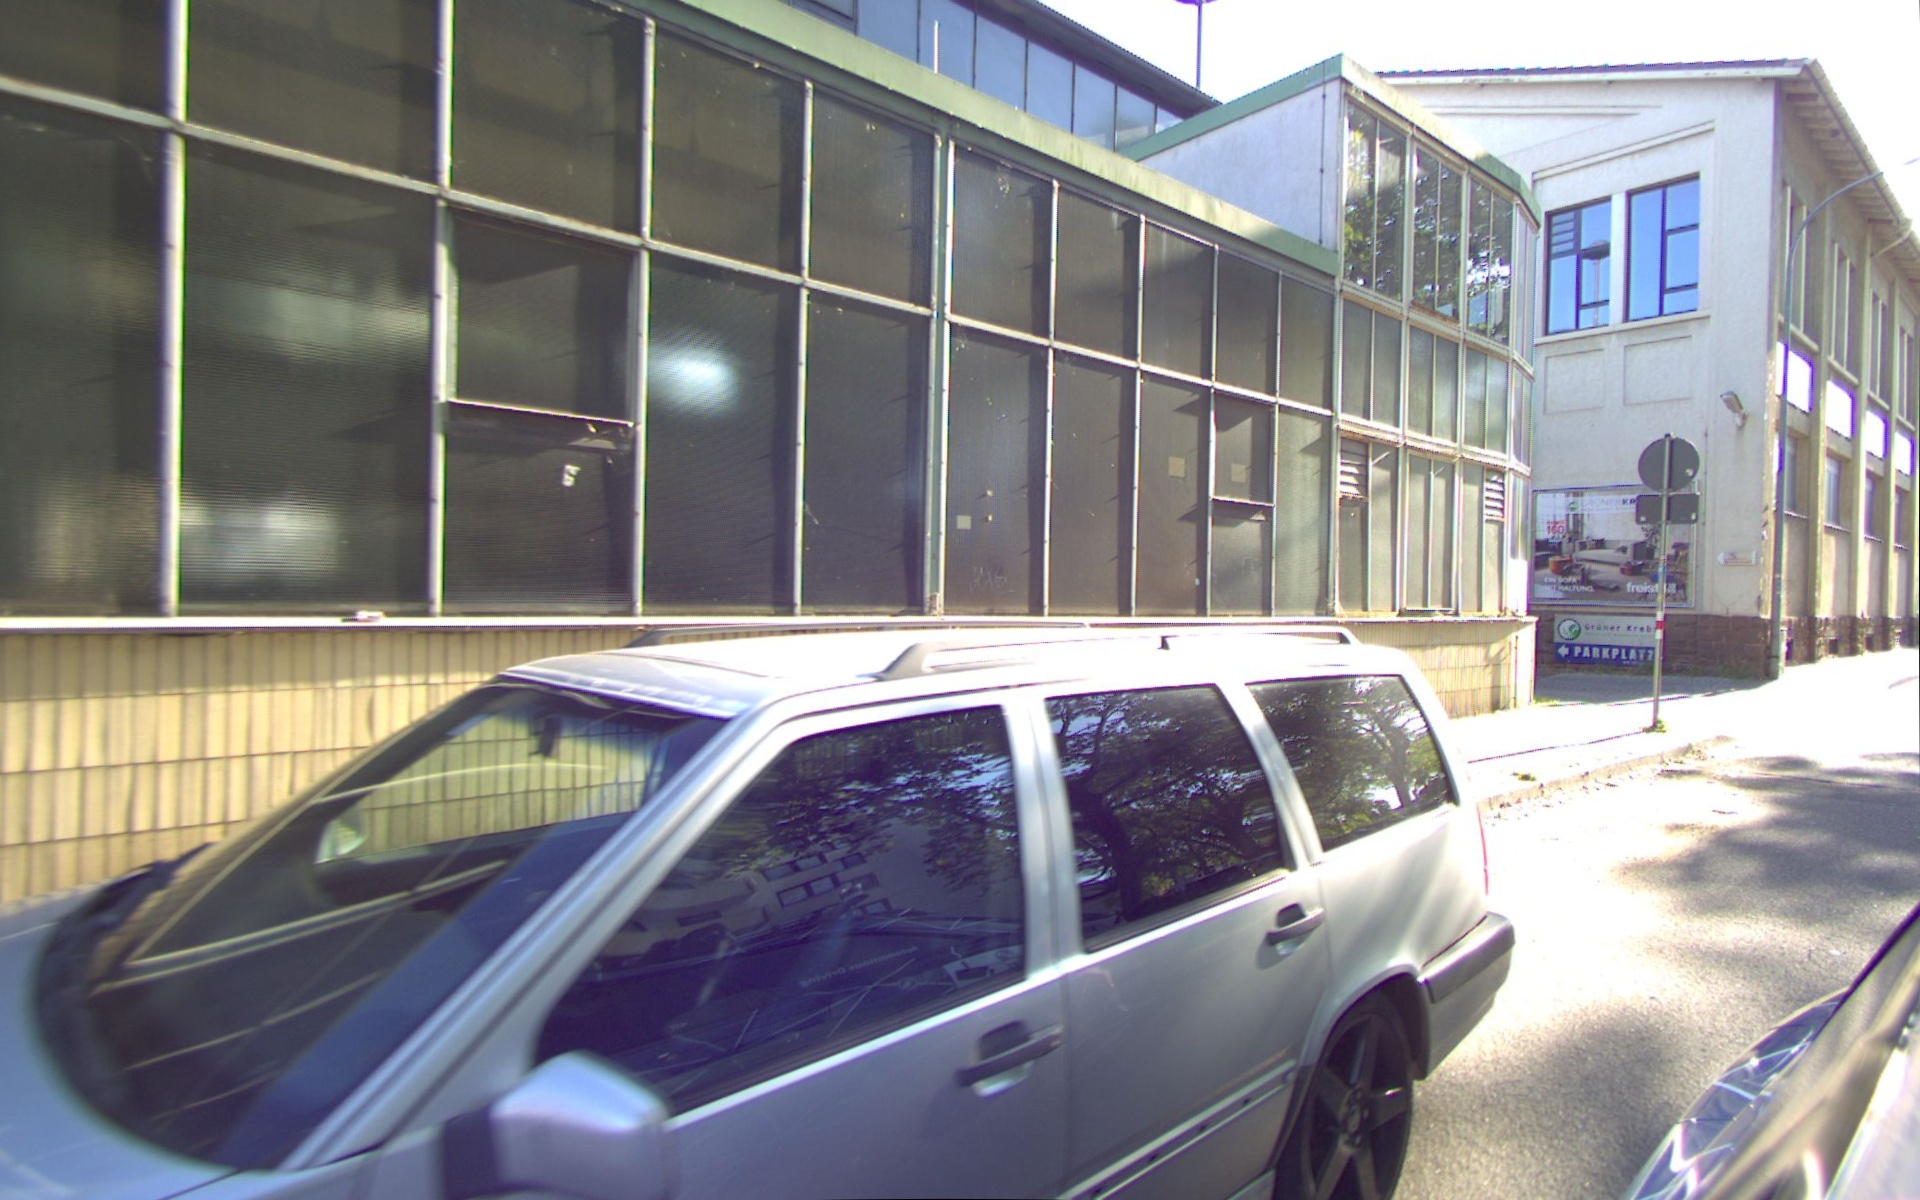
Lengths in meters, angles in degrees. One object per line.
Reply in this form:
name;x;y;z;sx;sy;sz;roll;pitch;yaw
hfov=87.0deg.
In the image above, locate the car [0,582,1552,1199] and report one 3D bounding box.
car;-0.569;0.725;2.158;4.451;1.512;1.903;0;1;-42
